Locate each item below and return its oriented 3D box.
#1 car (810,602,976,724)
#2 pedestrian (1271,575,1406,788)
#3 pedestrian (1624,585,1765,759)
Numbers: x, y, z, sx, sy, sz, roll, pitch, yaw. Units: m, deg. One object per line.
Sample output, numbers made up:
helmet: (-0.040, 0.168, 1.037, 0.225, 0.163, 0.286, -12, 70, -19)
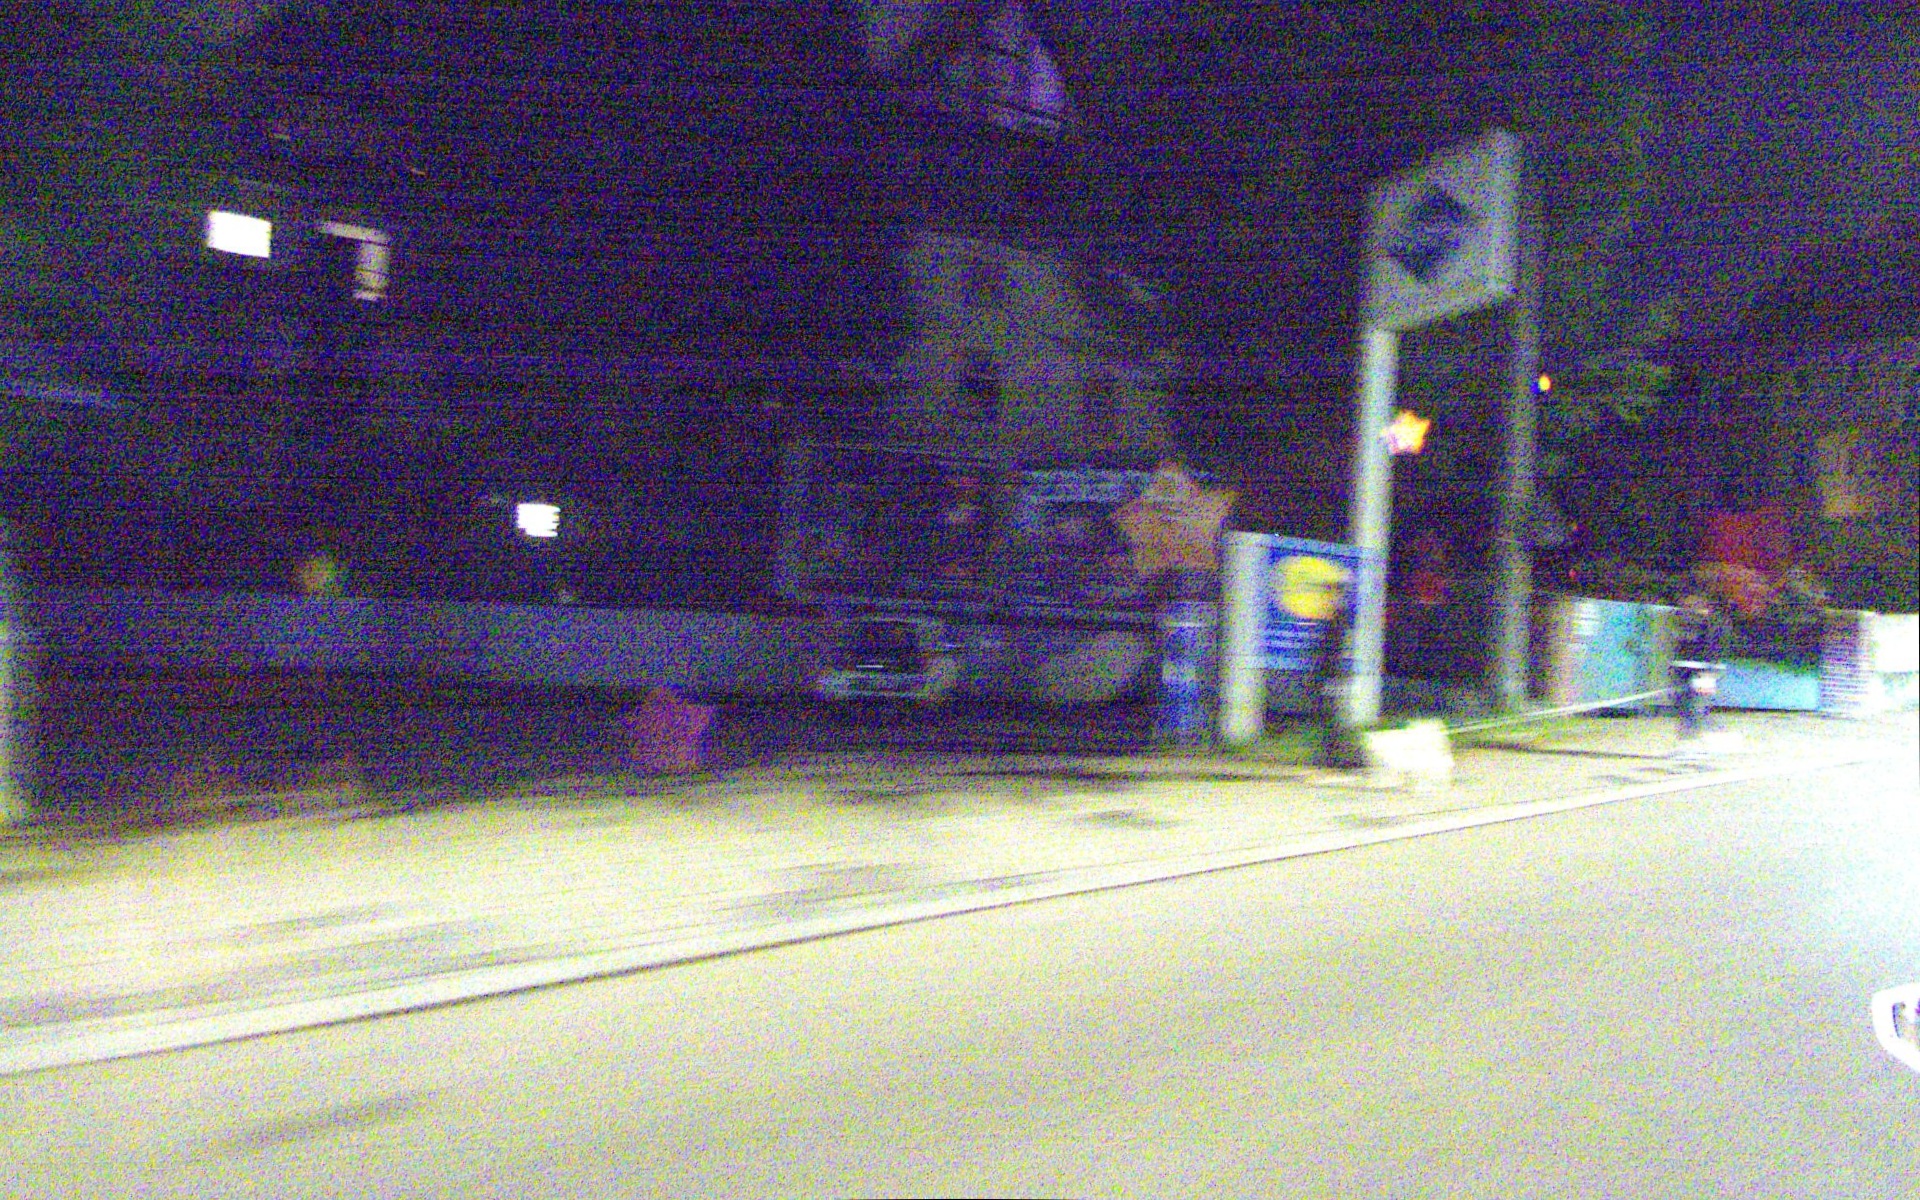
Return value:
car: (-0.869, 0.871, 15.005, 1.960, 1.557, 3.342, 2, -1, 5)
pedestrian: (3.284, 0.674, 8.729, 0.857, 1.749, 0.665, 1, 0, -30)
pedestrian: (7.580, 0.715, 10.374, 1.090, 1.694, 0.739, 2, 0, -28)
